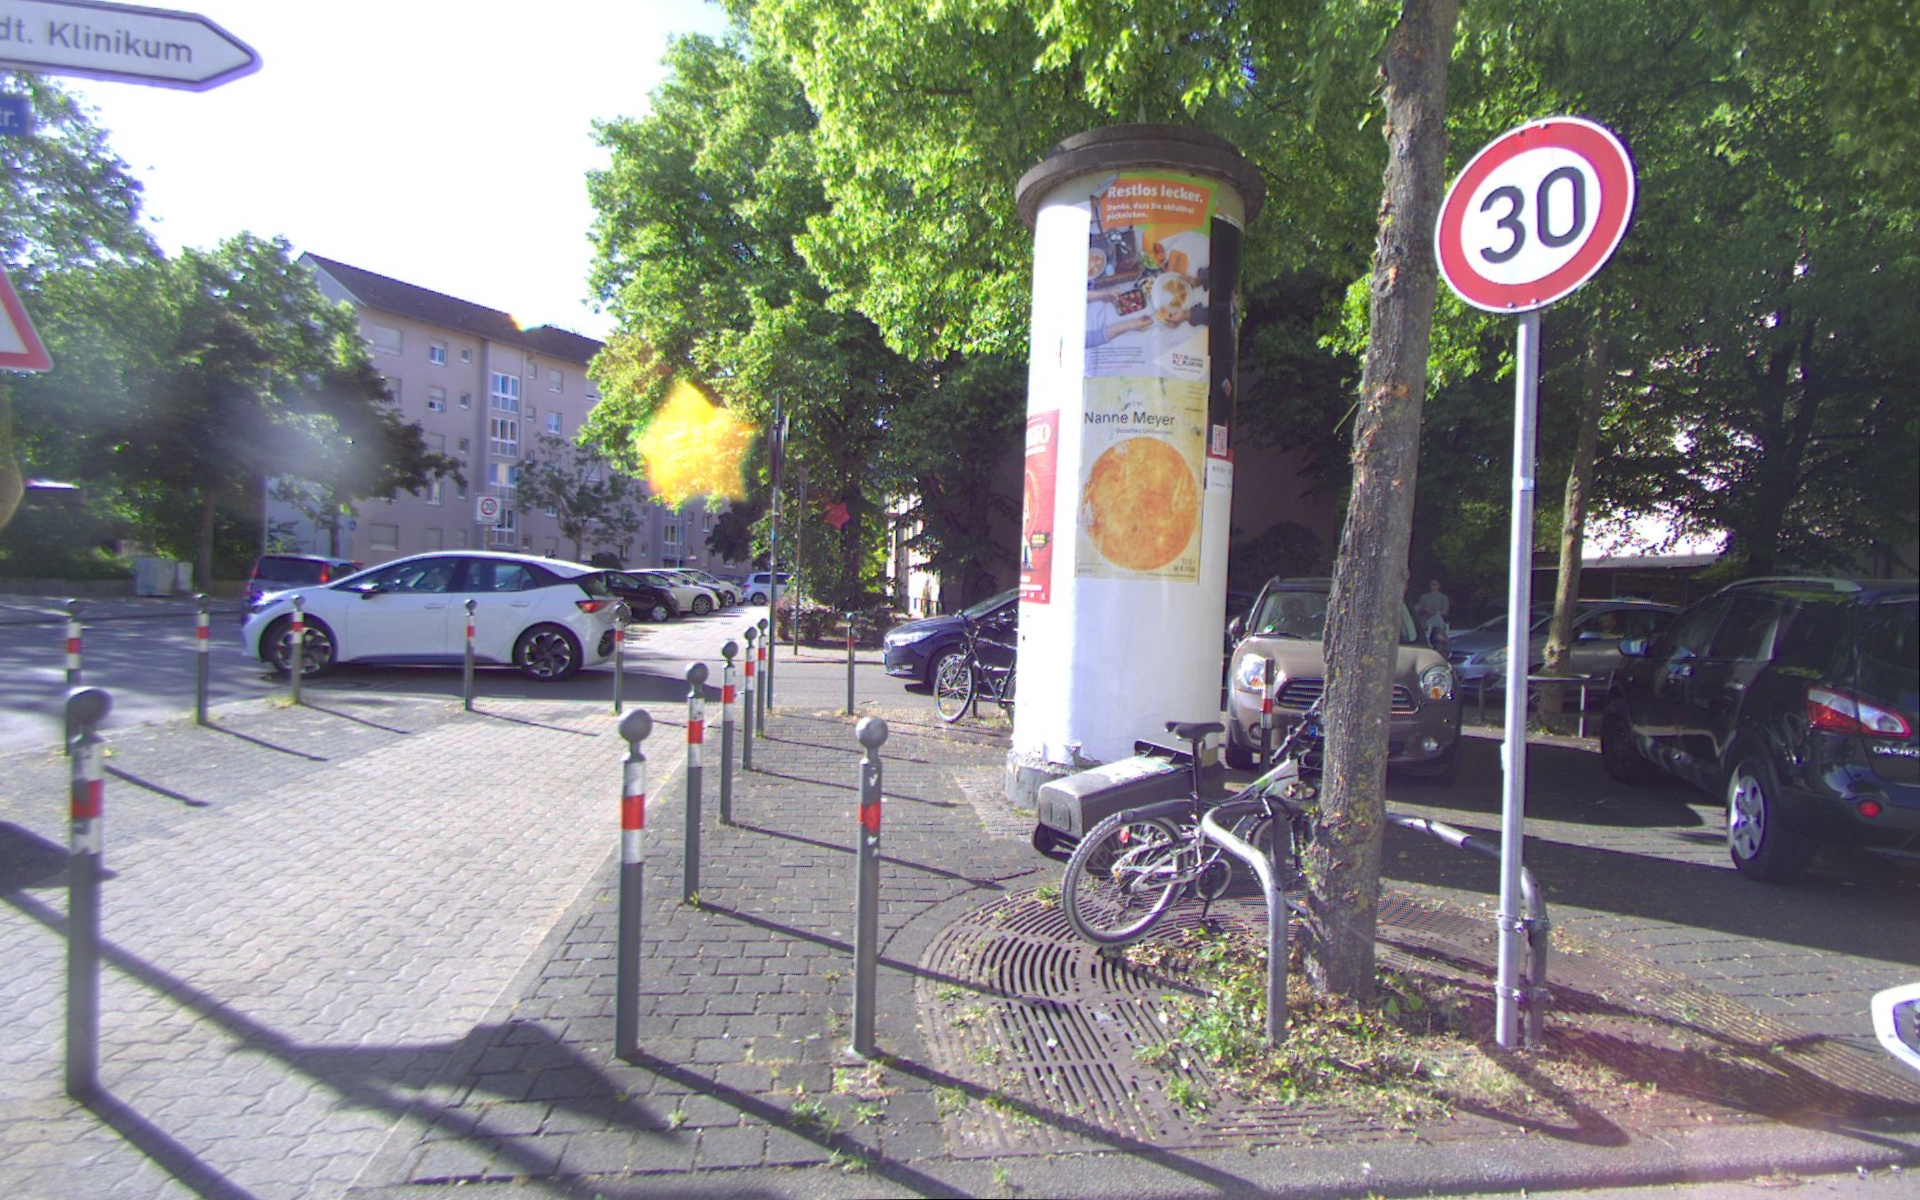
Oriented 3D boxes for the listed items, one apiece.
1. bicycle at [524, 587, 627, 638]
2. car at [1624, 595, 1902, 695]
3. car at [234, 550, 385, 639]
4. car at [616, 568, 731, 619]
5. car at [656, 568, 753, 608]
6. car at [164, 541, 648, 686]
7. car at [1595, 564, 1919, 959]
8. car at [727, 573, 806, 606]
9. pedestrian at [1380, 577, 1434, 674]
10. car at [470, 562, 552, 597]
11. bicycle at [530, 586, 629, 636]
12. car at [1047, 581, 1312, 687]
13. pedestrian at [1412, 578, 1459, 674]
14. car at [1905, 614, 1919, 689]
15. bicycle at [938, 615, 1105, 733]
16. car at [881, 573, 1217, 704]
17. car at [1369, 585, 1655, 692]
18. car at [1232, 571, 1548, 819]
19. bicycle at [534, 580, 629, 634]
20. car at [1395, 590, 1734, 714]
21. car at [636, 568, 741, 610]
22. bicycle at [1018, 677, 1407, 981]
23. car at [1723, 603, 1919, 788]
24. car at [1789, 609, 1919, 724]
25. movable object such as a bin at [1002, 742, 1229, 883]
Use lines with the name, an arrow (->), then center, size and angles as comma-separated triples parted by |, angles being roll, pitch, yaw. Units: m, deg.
bicycle -> -8.219, 0.267, 21.526 | 2.001, 1.045, 0.447 | 1, 1, -17
car -> 14.653, 0.798, 18.442 | 3.876, 1.591, 1.757 | 2, 1, -8
car -> -12.797, -0.125, 19.958 | 1.595, 1.582, 3.246 | 2, 1, -16
car -> -9.185, -0.213, 32.245 | 3.222, 1.501, 1.607 | 2, 1, -33
car -> -10.551, -0.496, 41.509 | 3.554, 1.501, 1.607 | 2, 1, -33
car -> -6.669, 0.170, 12.701 | 4.947, 1.539, 1.920 | 2, 1, -10
car -> 5.435, 0.654, 6.125 | 1.801, 1.694, 4.334 | 3, 3, 22
car -> -9.438, -0.511, 49.085 | 3.523, 1.501, 1.621 | 2, 1, -2
pedestrian -> 8.252, 0.459, 18.563 | 0.530, 1.759, 0.740 | 2, 1, -12
car -> -26.198, -1.200, 58.587 | 4.345, 1.822, 2.065 | 2, 1, 28
bicycle -> -8.349, 0.246, 22.114 | 2.001, 1.045, 0.447 | 1, 1, -17
car -> 3.541, 0.532, 16.582 | 3.877, 1.532, 1.757 | 2, 1, -8
pedestrian -> 9.034, 0.482, 19.101 | 0.728, 1.759, 0.539 | 3, 1, 25
car -> 20.943, 1.095, 19.276 | 4.263, 1.454, 1.767 | 2, 1, -8
bicycle -> 0.606, 0.716, 9.760 | 1.568, 1.086, 0.352 | 2, 1, -19
car -> 1.100, 0.488, 13.727 | 4.221, 1.539, 1.906 | 2, 1, -8
car -> 9.627, 0.650, 17.656 | 4.170, 1.662, 1.756 | 2, 1, -10
car -> 3.515, 0.645, 9.013 | 1.883, 1.632, 4.002 | 2, 0, 13
bicycle -> -8.765, 0.159, 23.325 | 2.001, 1.193, 0.666 | 1, 1, -17
car -> 8.279, 0.694, 13.855 | 3.883, 1.506, 1.754 | 2, 1, -15
car -> -10.404, -0.413, 38.496 | 3.554, 1.501, 1.607 | 2, 1, -33
bicycle -> 1.047, 0.882, 4.107 | 1.568, 1.086, 0.352 | 2, 1, -19
car -> 8.933, 0.805, 9.156 | 1.785, 1.441, 3.950 | 3, 1, 16
car -> 14.733, 0.977, 14.926 | 3.883, 1.506, 1.754 | 2, 1, -15
movable object such as a bin -> 0.853, 1.129, 5.505 | 1.100, 0.572, 0.573 | 2, 1, -29
